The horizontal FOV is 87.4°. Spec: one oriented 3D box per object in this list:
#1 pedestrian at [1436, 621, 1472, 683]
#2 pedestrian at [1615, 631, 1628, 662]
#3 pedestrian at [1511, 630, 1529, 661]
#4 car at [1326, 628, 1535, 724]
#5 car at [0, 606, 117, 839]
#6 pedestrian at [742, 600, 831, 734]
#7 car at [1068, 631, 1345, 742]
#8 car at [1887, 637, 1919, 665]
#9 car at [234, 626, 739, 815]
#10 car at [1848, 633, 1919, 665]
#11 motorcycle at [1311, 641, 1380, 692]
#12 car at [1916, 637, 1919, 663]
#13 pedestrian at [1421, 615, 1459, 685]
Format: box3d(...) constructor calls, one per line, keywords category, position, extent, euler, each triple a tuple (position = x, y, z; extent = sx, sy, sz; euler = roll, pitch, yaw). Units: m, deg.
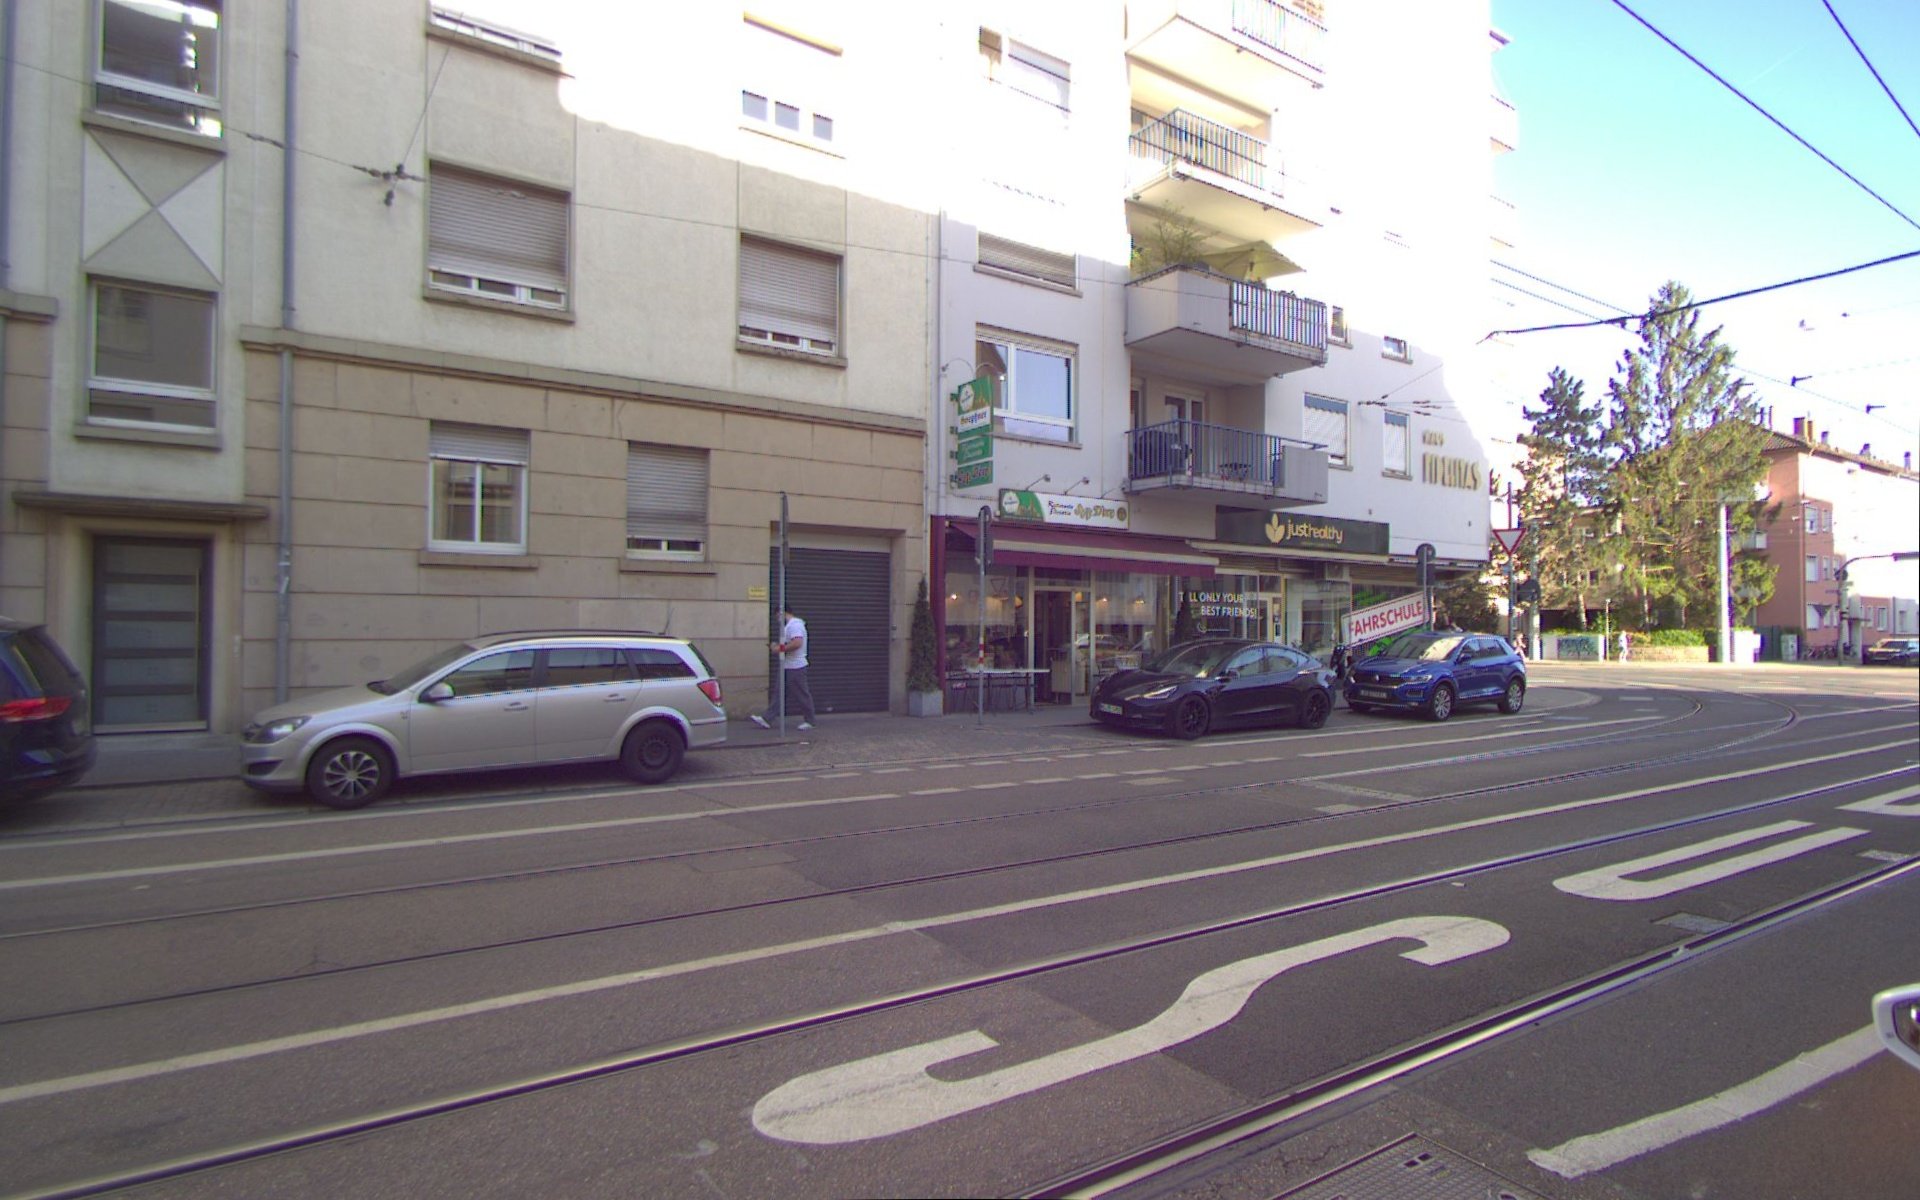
box3d(category="pedestrian", position=(14.796, 1.548, 30.081), extent=(0.653, 1.816, 0.733), euler=(1, -1, -27))
box3d(category="pedestrian", position=(35.051, 2.456, 53.214), extent=(0.509, 1.589, 0.572), euler=(2, 0, 33))
box3d(category="pedestrian", position=(31.648, 2.562, 56.784), extent=(0.772, 1.744, 0.702), euler=(2, 0, 37))
box3d(category="car", position=(8.993, 1.342, 19.074), extent=(4.196, 1.524, 1.757), euler=(0, 1, -36))
box3d(category="car", position=(-8.951, 0.866, 7.170), extent=(4.282, 1.655, 1.802), euler=(2, 1, -35))
box3d(category="pedestrian", position=(-2.433, 0.911, 14.075), extent=(0.998, 1.791, 0.656), euler=(2, 0, -40))
box3d(category="car", position=(4.006, 1.292, 16.053), extent=(4.398, 1.494, 1.759), euler=(2, 0, -33))
box3d(category="car", position=(54.441, 2.883, 56.828), extent=(4.057, 1.456, 1.893), euler=(2, 0, -32))
box3d(category="car", position=(-4.625, 1.065, 10.169), extent=(4.327, 1.474, 1.714), euler=(2, 1, -35))
box3d(category="car", position=(49.733, 2.643, 53.883), extent=(4.397, 1.450, 2.140), euler=(4, -2, -35))
box3d(category="motorcycle", position=(9.200, 1.578, 23.950), extent=(1.778, 1.149, 0.603), euler=(2, 0, -34))
box3d(category="car", position=(58.384, 3.005, 59.444), extent=(4.185, 1.546, 1.731), euler=(2, 0, -34))
box3d(category="pedestrian", position=(13.594, 1.423, 28.450), extent=(0.727, 1.925, 0.573), euler=(3, -2, -15))
